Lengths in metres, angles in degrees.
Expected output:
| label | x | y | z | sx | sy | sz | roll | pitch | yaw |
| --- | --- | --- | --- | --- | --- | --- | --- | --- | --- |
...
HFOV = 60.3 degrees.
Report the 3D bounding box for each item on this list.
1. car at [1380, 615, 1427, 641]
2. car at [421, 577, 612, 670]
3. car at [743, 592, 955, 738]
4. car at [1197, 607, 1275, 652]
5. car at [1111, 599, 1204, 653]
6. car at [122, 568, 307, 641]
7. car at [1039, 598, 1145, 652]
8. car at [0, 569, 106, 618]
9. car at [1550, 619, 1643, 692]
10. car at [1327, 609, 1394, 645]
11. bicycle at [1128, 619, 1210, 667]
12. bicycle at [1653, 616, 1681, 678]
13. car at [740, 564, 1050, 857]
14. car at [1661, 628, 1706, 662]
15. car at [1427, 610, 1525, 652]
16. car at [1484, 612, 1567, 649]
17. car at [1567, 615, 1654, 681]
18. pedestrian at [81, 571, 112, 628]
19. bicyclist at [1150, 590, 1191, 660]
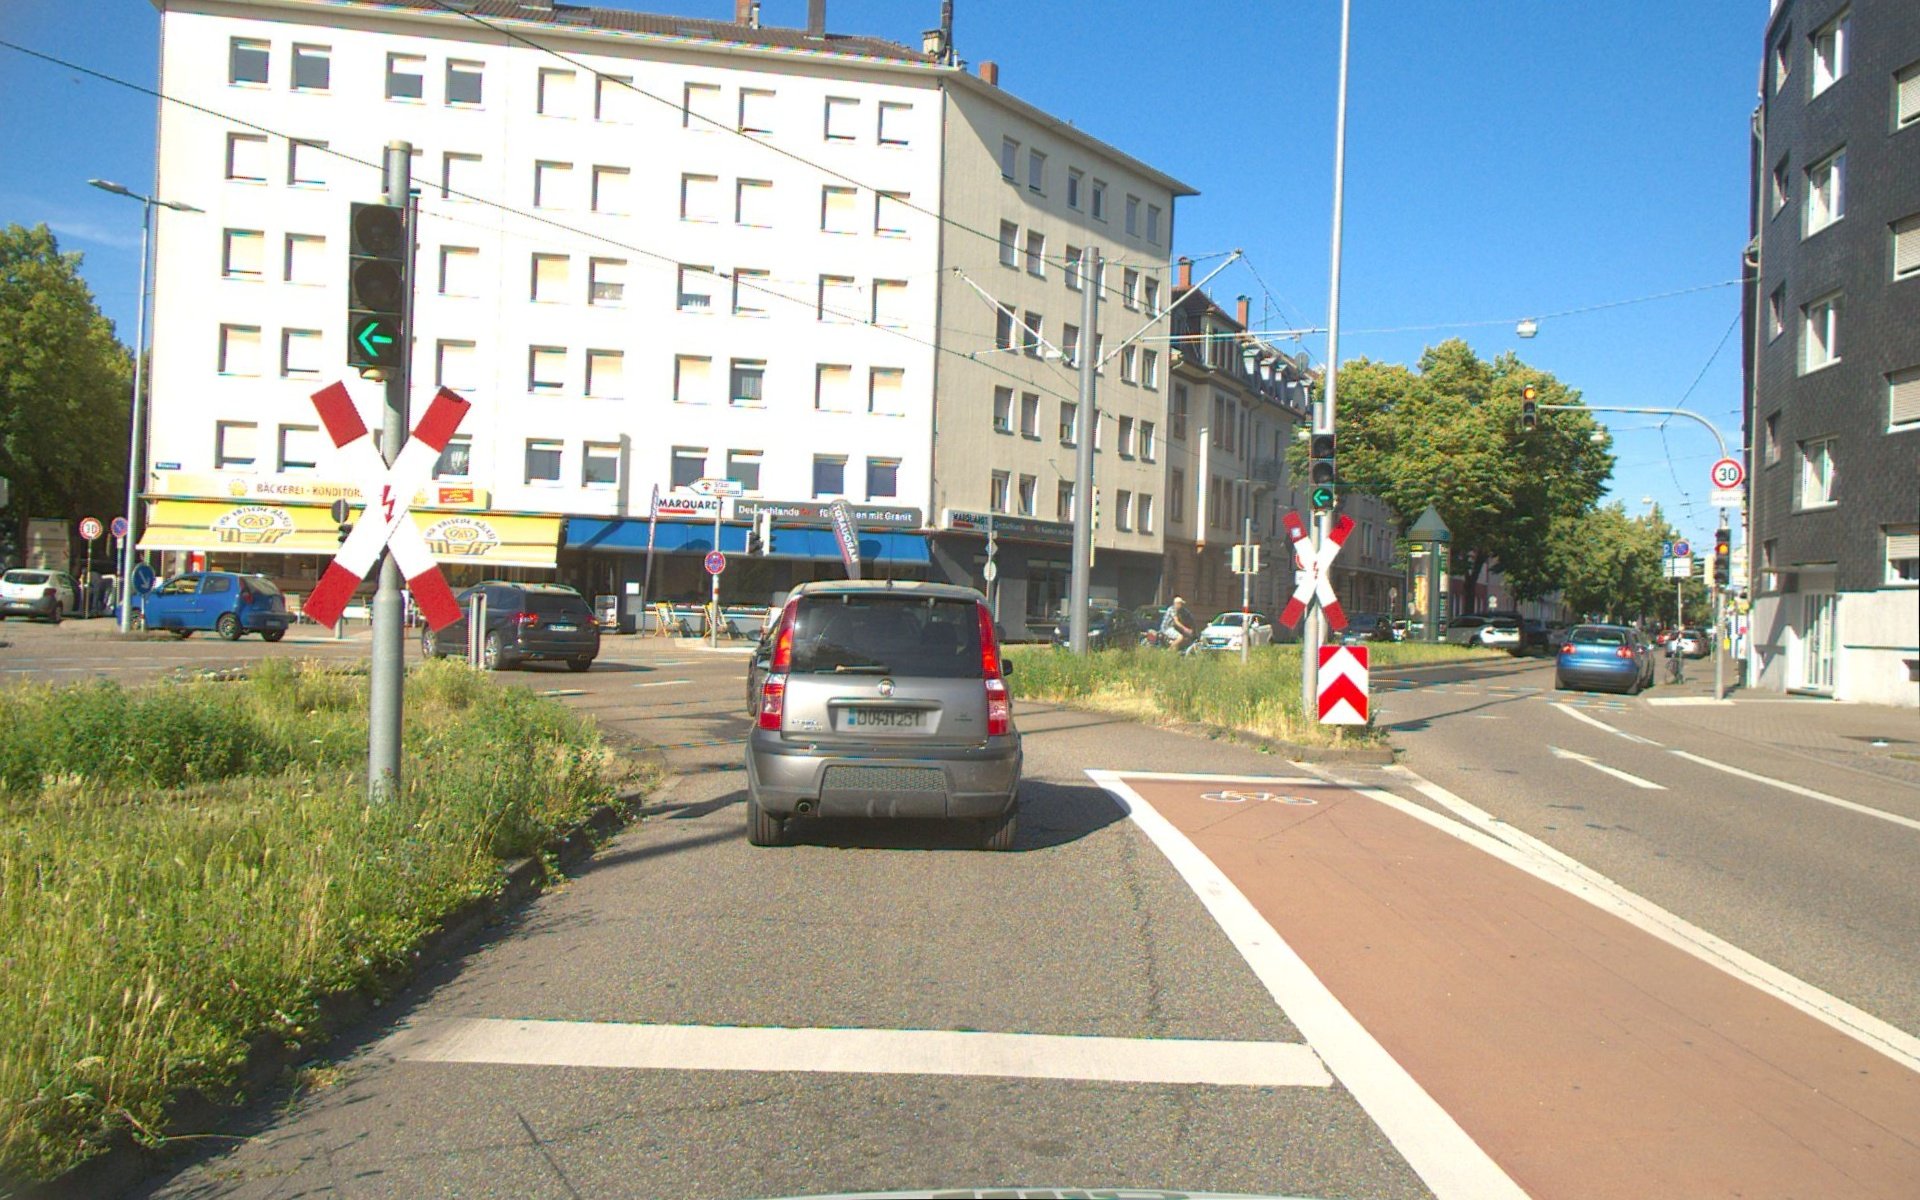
| label | x | y | z | sx | sy | sz | roll | pitch | yaw |
| --- | --- | --- | --- | --- | --- | --- | --- | --- | --- |
| car | 25.804 | 1.645 | 96.224 | 1.954 | 1.419 | 3.997 | 2 | 0 | 25 |
| car | -8.008 | 0.389 | 29.636 | 1.748 | 1.512 | 4.234 | 2 | 0 | -38 |
| car | -1.353 | 0.669 | 18.733 | 1.595 | 1.454 | 3.671 | 2 | 0 | -17 |
| car | 9.935 | 1.070 | 59.385 | 1.755 | 1.508 | 3.528 | 2 | 0 | 27 |
| car | 6.357 | 0.831 | 53.043 | 1.755 | 1.593 | 3.762 | 2 | 0 | 27 |
| car | -16.531 | 0.100 | 36.747 | 3.313 | 1.463 | 1.652 | 2 | 0 | 8 |
| car | 3.846 | 0.720 | 47.750 | 1.755 | 1.420 | 3.721 | 2 | 0 | 27 |
| car | -27.143 | -0.201 | 49.099 | 1.956 | 1.333 | 3.992 | 2 | 0 | -8 |
| car | 14.427 | 1.206 | 37.405 | 1.739 | 1.468 | 3.616 | 3 | 0 | 24 |
| car | 17.957 | 1.212 | 74.104 | 1.955 | 1.498 | 3.994 | 2 | 0 | 28 |
| bicycle | 4.892 | 0.992 | 38.746 | 1.812 | 1.050 | 0.589 | 2 | 0 | 18 |
| bicycle | 18.358 | 1.215 | 42.909 | 0.562 | 1.537 | 2.805 | 2 | 0 | 25 |
| car | -0.525 | 0.600 | 10.542 | 1.628 | 1.536 | 3.247 | 2 | 0 | -7 |
| car | 38.767 | 2.400 | 88.547 | 1.955 | 1.646 | 3.995 | 2 | -1 | 27 |
| car | 21.617 | 1.287 | 69.410 | 1.877 | 1.621 | 3.975 | 2 | 0 | -21 |
| car | 29.881 | 1.614 | 87.385 | 3.747 | 1.817 | 1.832 | 2 | 0 | 39 |
| car | 16.507 | 1.176 | 41.884 | 1.783 | 1.534 | 3.997 | 2 | 0 | 25 |
| pedestrian | -25.496 | -0.024 | 48.834 | 0.782 | 1.650 | 0.822 | 2 | 0 | -28 |
| bicyclist | 4.928 | 0.586 | 38.742 | 0.804 | 1.586 | 0.562 | 2 | 0 | 18 |
